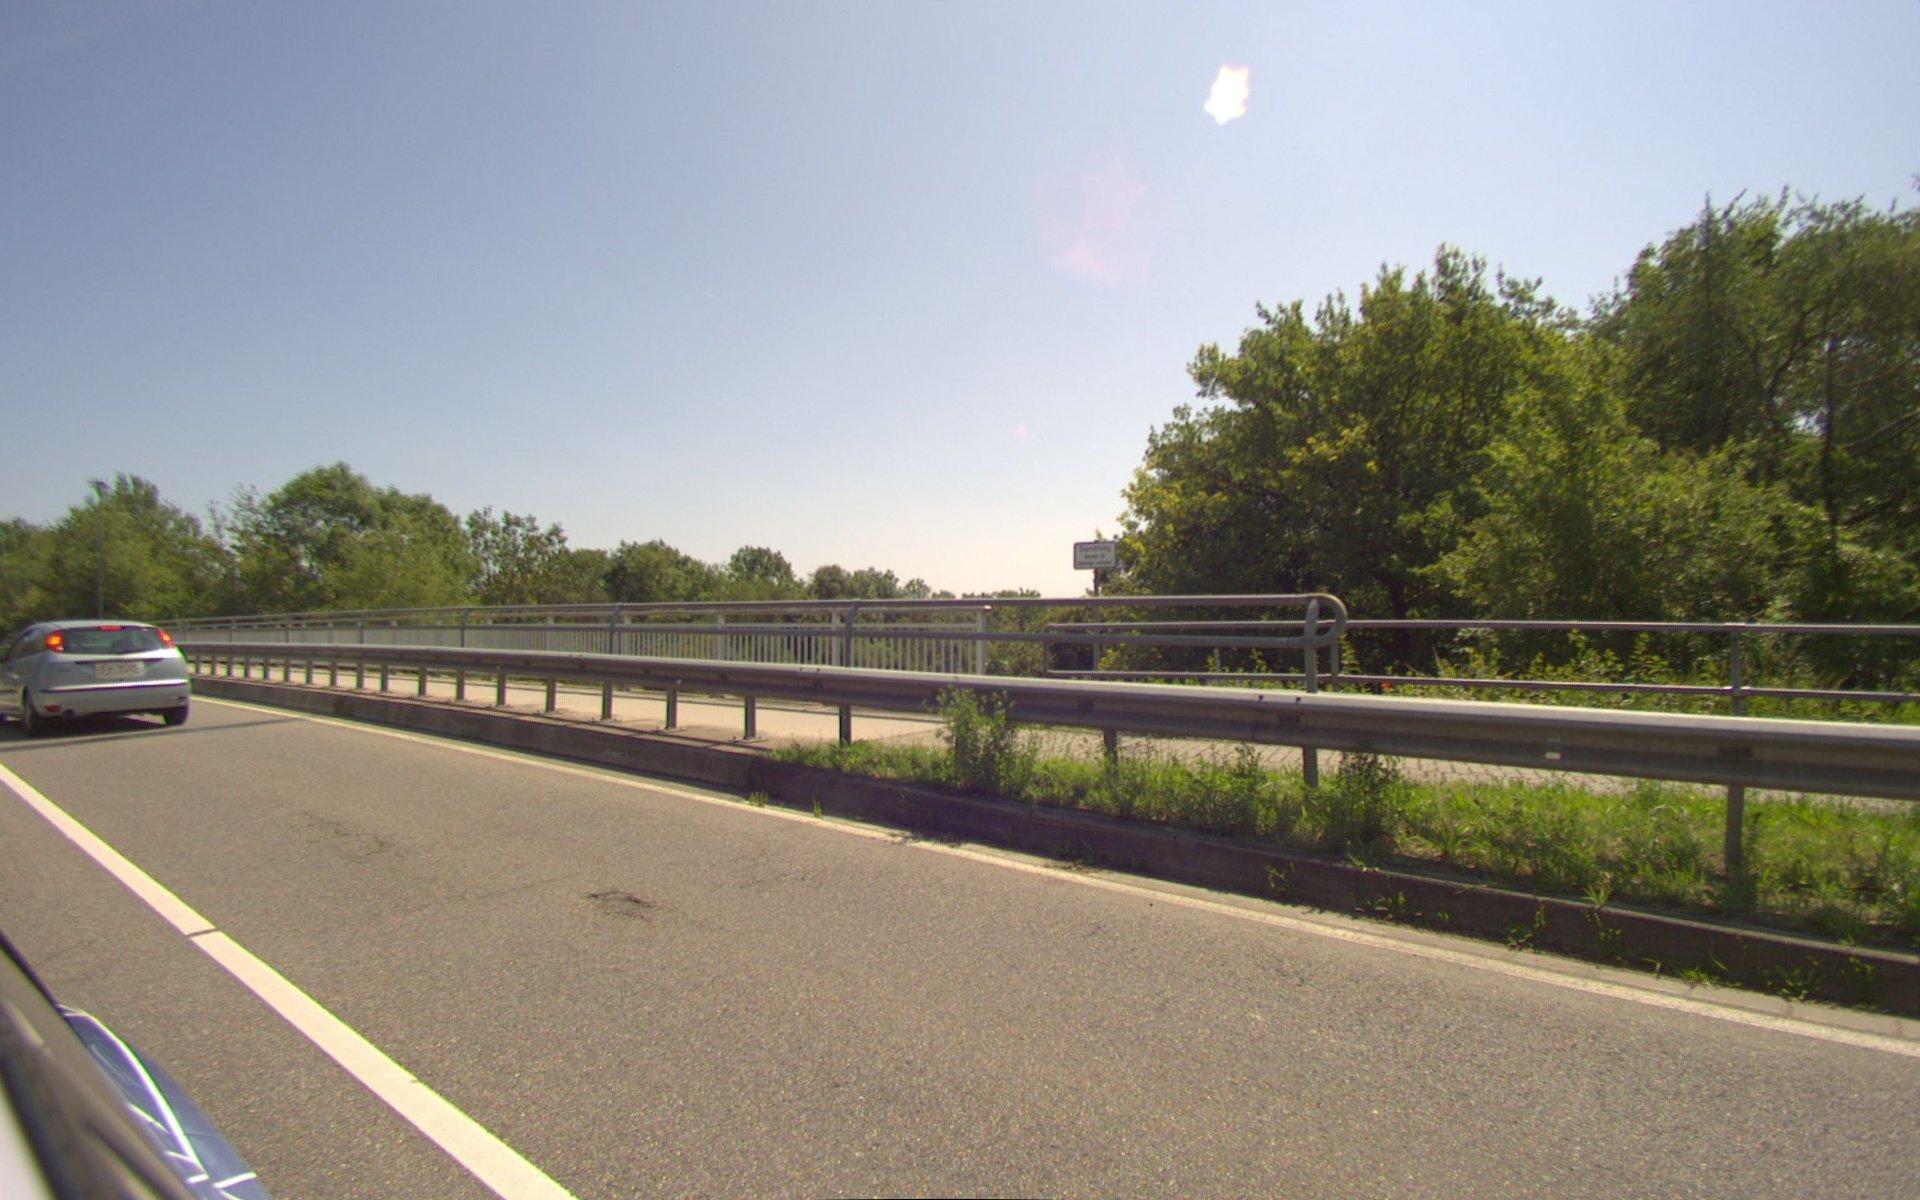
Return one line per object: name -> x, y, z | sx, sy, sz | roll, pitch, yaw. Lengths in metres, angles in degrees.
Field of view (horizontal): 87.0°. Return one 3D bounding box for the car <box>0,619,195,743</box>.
car -> -12.160, 1.024, 14.084 | 3.706, 1.468, 1.777 | -1, -1, 42
